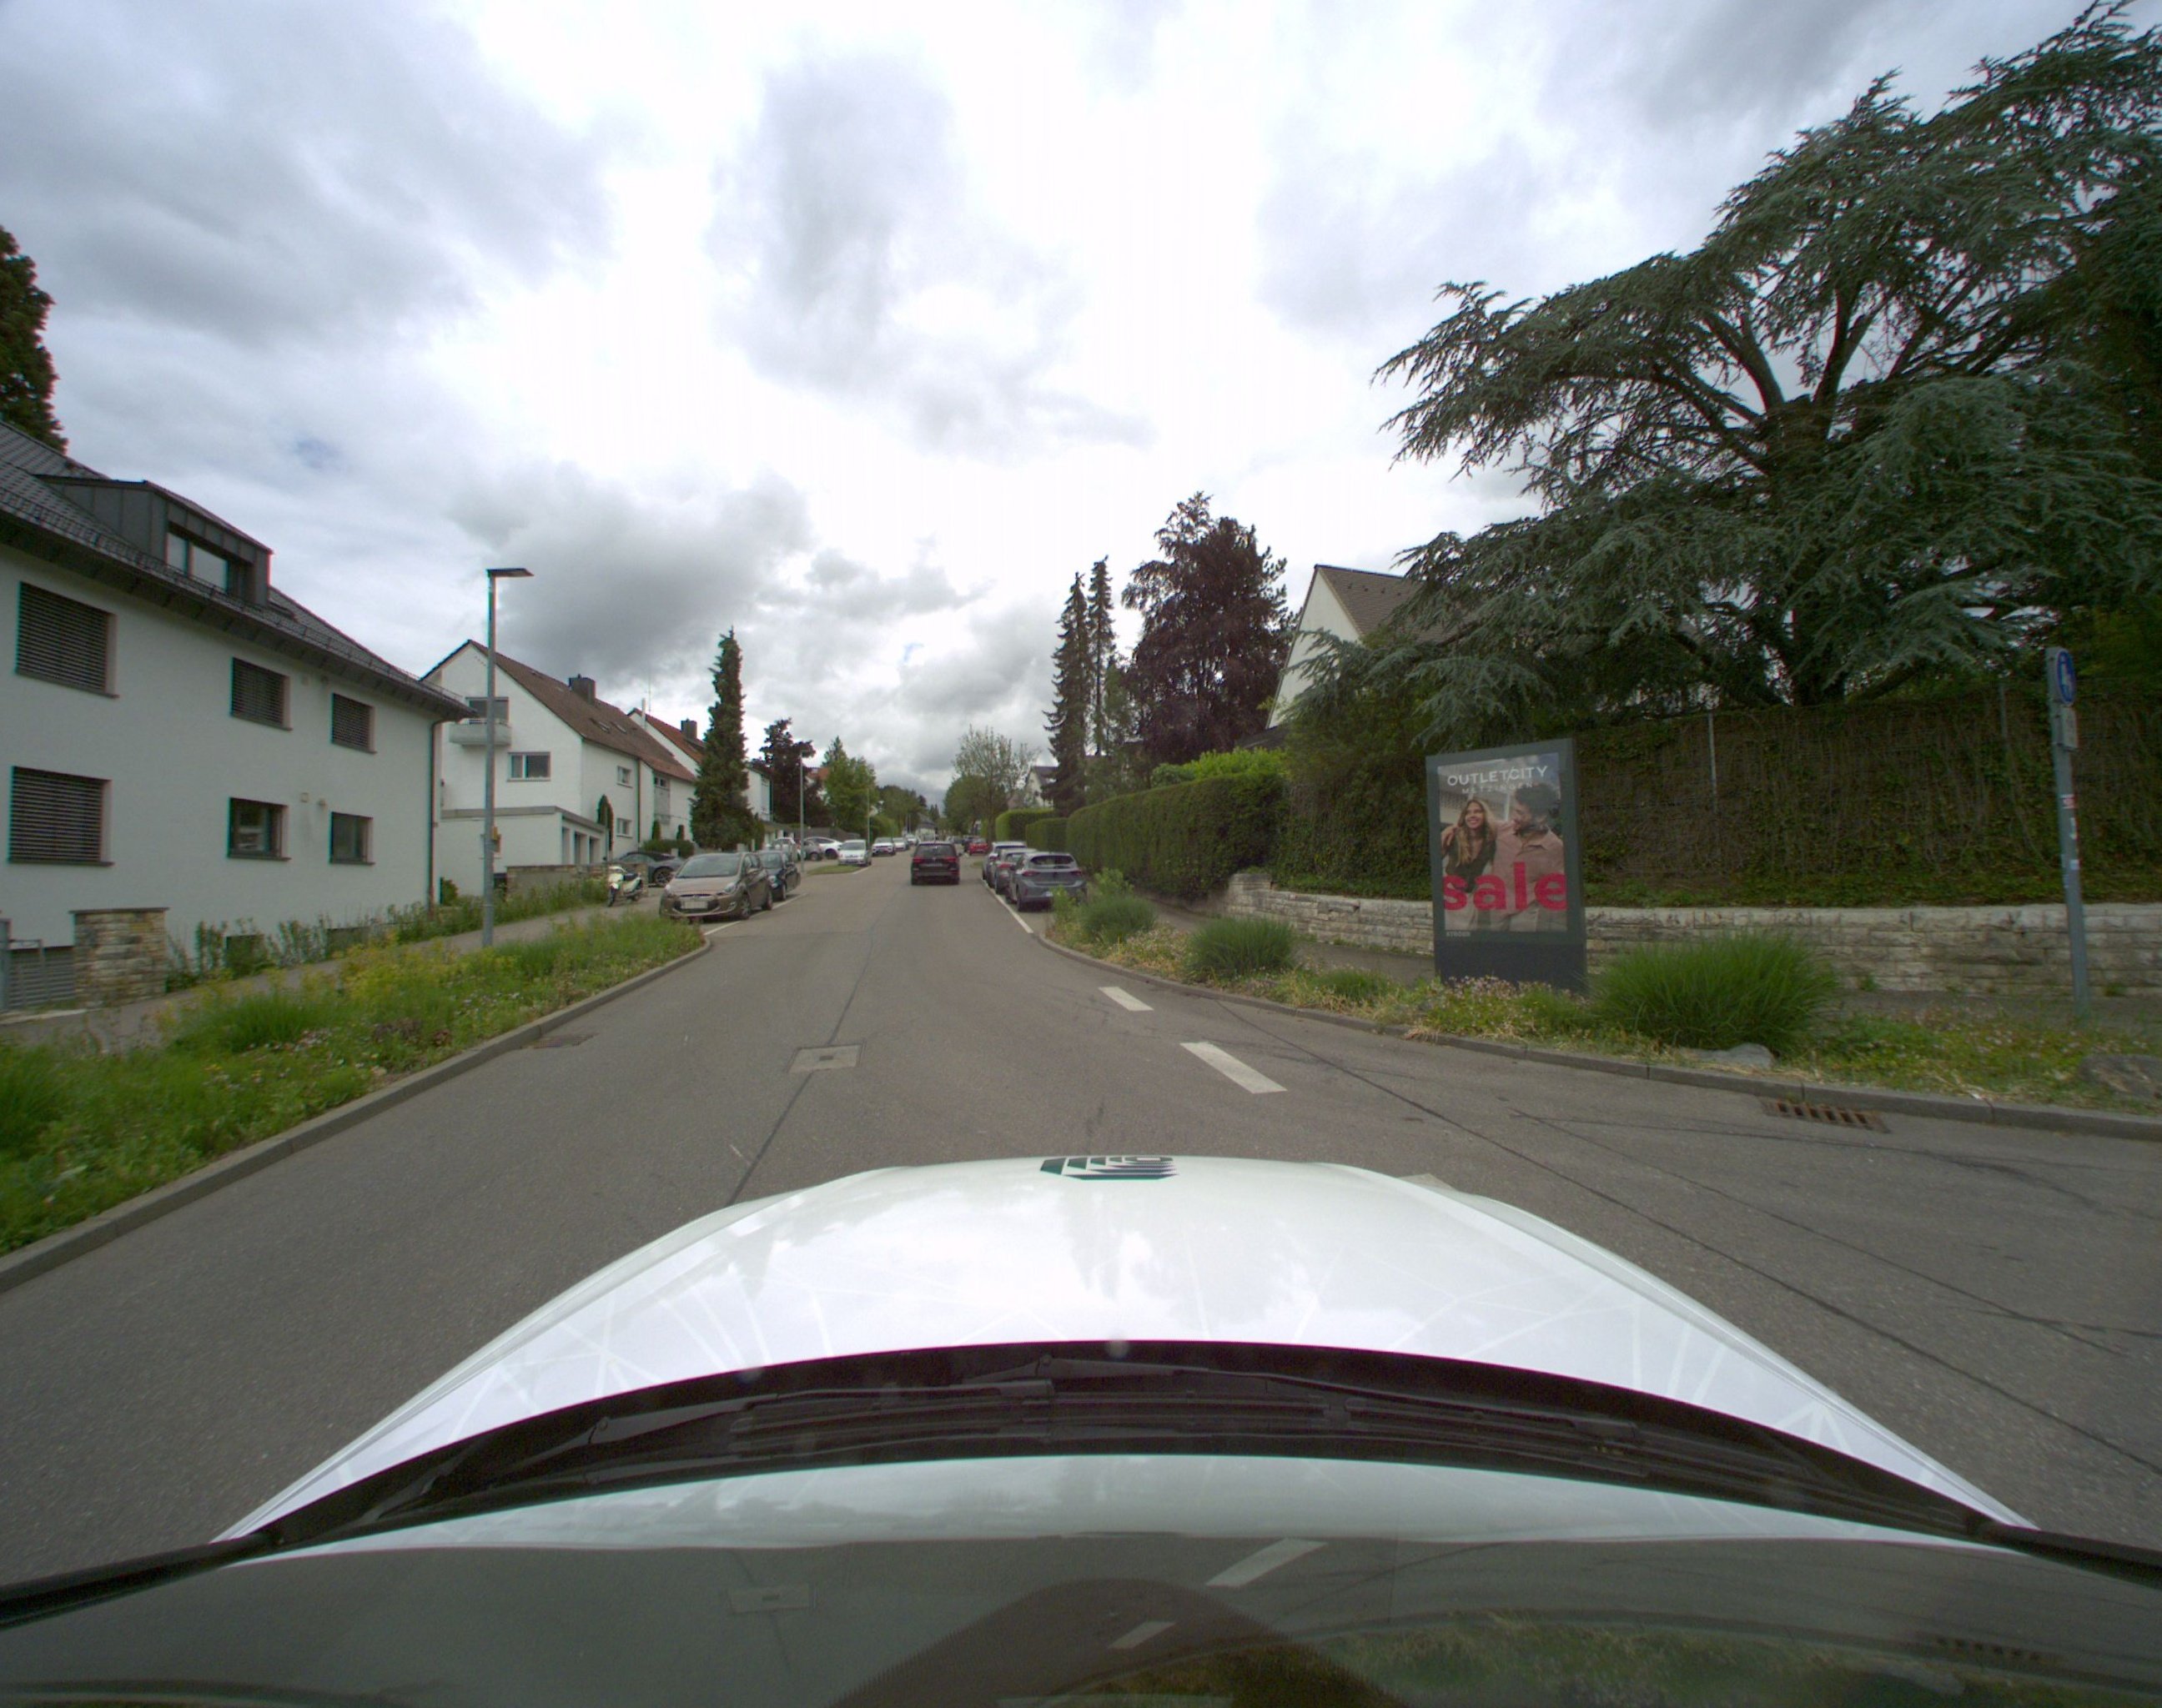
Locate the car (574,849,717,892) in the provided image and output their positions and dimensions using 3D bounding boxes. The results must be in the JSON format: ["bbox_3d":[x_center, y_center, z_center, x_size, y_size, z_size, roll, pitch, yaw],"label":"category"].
[{"bbox_3d":[-15.984,0.570,30.129,4.294,1.367,1.895,-1,2,-15],"label":"car"}]

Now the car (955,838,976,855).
[{"bbox_3d":[-11.220,-0.760,79.081,1.993,1.618,4.500,1,1,-9],"label":"car"}]

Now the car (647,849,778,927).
[{"bbox_3d":[-8.754,0.728,19.694,1.877,1.584,3.860,-1,1,-9],"label":"car"}]

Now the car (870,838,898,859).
[{"bbox_3d":[-17.032,-0.545,70.567,1.837,1.666,4.396,-3,2,-9],"label":"car"}]

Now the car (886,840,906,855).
[{"bbox_3d":[-20.112,-0.710,88.838,1.837,1.422,4.393,-3,2,-10],"label":"car"}]

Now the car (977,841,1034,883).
[{"bbox_3d":[-3.113,0.268,32.890,1.856,1.582,4.156,0,1,-11],"label":"car"}]

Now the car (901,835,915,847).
[{"bbox_3d":[-23.967,-1.761,112.898,1.723,1.540,3.985,-2,2,-12],"label":"car"}]

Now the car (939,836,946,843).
[{"bbox_3d":[-35.603,-3.732,209.318,1.646,1.668,3.452,-1,2,-14],"label":"car"}]

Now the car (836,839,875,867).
[{"bbox_3d":[-13.498,-0.082,48.921,1.761,1.562,3.843,-2,2,-10],"label":"car"}]

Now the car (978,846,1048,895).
[{"bbox_3d":[-2.342,0.472,27.153,1.856,1.464,4.156,0,1,-11],"label":"car"}]

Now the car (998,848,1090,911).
[{"bbox_3d":[-1.064,0.587,21.385,1.856,1.464,3.985,0,1,-11],"label":"car"}]

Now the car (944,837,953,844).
[{"bbox_3d":[-31.643,-3.228,194.523,1.667,1.668,3.452,-1,2,-14],"label":"car"}]

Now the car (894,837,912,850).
[{"bbox_3d":[-20.524,-1.197,93.819,1.727,1.423,4.067,-2,1,-9],"label":"car"}]

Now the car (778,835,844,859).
[{"bbox_3d":[-20.091,-0.523,60.732,4.412,1.628,1.904,2,1,-11],"label":"car"}]

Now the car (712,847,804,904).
[{"bbox_3d":[-9.877,0.590,25.156,1.877,1.536,3.496,-1,1,-9],"label":"car"}]

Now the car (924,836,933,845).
[{"bbox_3d":[-33.009,-2.950,176.253,1.885,1.850,4.387,-2,2,-10],"label":"car"}]

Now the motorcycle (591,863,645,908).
[{"bbox_3d":[-12.887,0.862,22.731,0.428,1.161,1.861,-2,0,-1],"label":"motorcycle"}]

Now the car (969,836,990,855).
[{"bbox_3d":[-8.702,-0.742,69.608,1.661,1.508,3.747,-1,2,-9],"label":"car"}]

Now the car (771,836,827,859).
[{"bbox_3d":[-19.711,-0.420,57.049,3.428,1.512,1.687,1,0,-9],"label":"car"}]

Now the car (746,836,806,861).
[{"bbox_3d":[-20.128,-0.371,53.890,3.428,1.578,1.652,1,0,-9],"label":"car"}]

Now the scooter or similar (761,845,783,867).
[{"bbox_3d":[-16.596,0.104,43.742,0.472,1.148,1.457,1,1,7],"label":"scooter or similar"}]

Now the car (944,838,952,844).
[{"bbox_3d":[-30.716,-3.000,187.756,1.667,1.500,3.452,-1,2,-14],"label":"car"}]

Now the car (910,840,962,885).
[{"bbox_3d":[-5.579,0.275,31.690,1.847,1.611,4.299,-1,1,-8],"label":"car"}]
